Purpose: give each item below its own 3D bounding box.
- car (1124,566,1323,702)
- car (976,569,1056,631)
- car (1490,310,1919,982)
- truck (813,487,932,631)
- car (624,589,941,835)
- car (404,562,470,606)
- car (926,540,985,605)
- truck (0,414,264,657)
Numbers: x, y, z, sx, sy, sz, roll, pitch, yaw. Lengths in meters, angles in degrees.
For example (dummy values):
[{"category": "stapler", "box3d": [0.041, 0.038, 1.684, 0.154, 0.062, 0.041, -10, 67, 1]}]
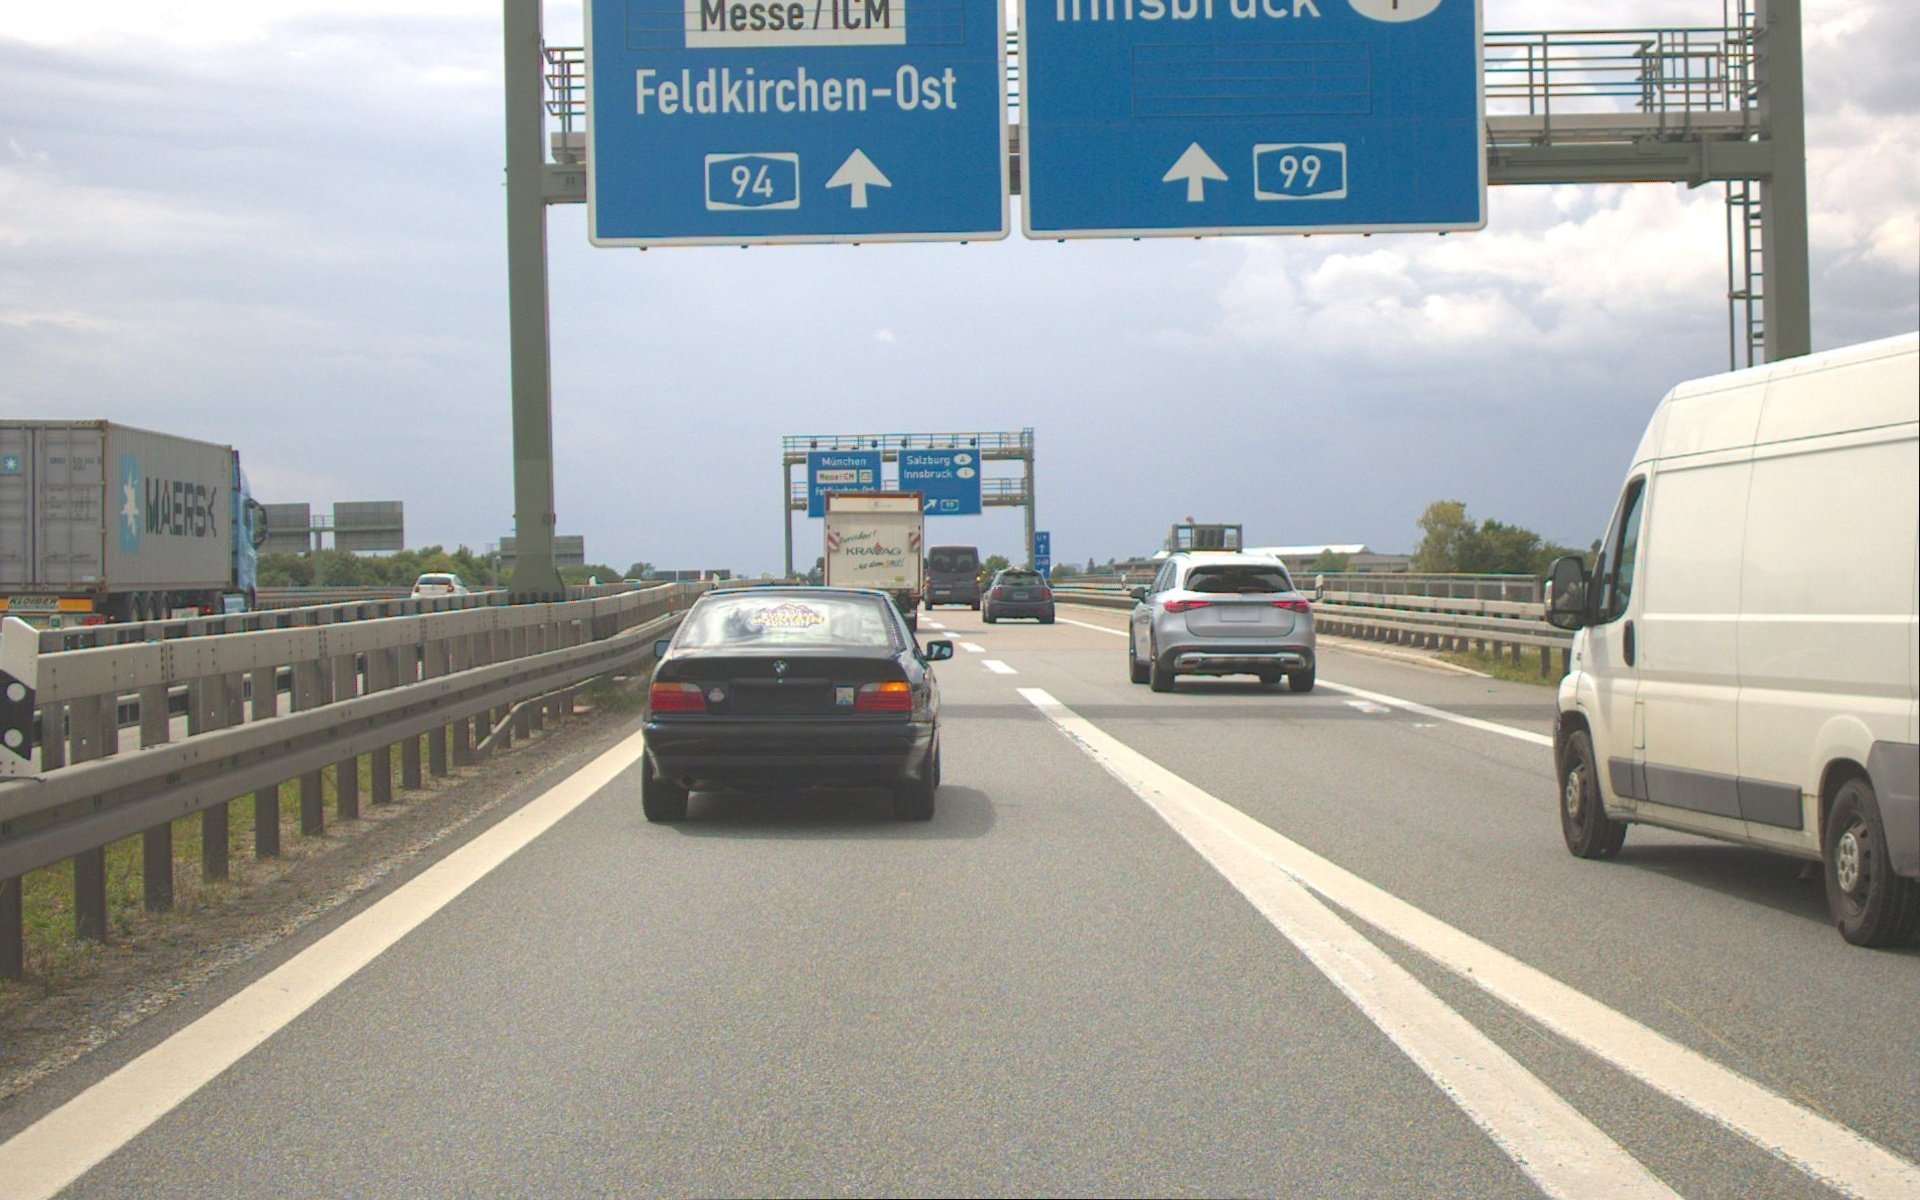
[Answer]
[{"category": "car", "box3d": [3.077, 0.360, 40.846, 1.819, 1.509, 4.001, 1, 1, -3]}, {"category": "car", "box3d": [1.444, -0.017, 89.941, 1.884, 1.547, 4.000, 1, 1, -2]}, {"category": "car", "box3d": [4.240, 0.140, 15.543, 2.113, 2.445, 6.153, 1, 1, -6]}, {"category": "truck", "box3d": [-2.059, -0.855, 79.879, 2.569, 3.115, 8.634, 1, -1, -2]}, {"category": "car", "box3d": [-0.973, 0.602, 20.789, 1.704, 1.277, 4.366, 1, 1, 0]}, {"category": "car", "box3d": [-19.001, -0.603, 125.021, 1.828, 1.557, 4.000, 0, 1, -1]}, {"category": "car", "box3d": [-0.182, -1.003, 124.023, 1.906, 2.254, 4.649, 1, 1, -2]}, {"category": "truck", "box3d": [-16.033, -1.174, 65.157, 3.183, 4.005, 16.077, 1, 1, -3]}]
